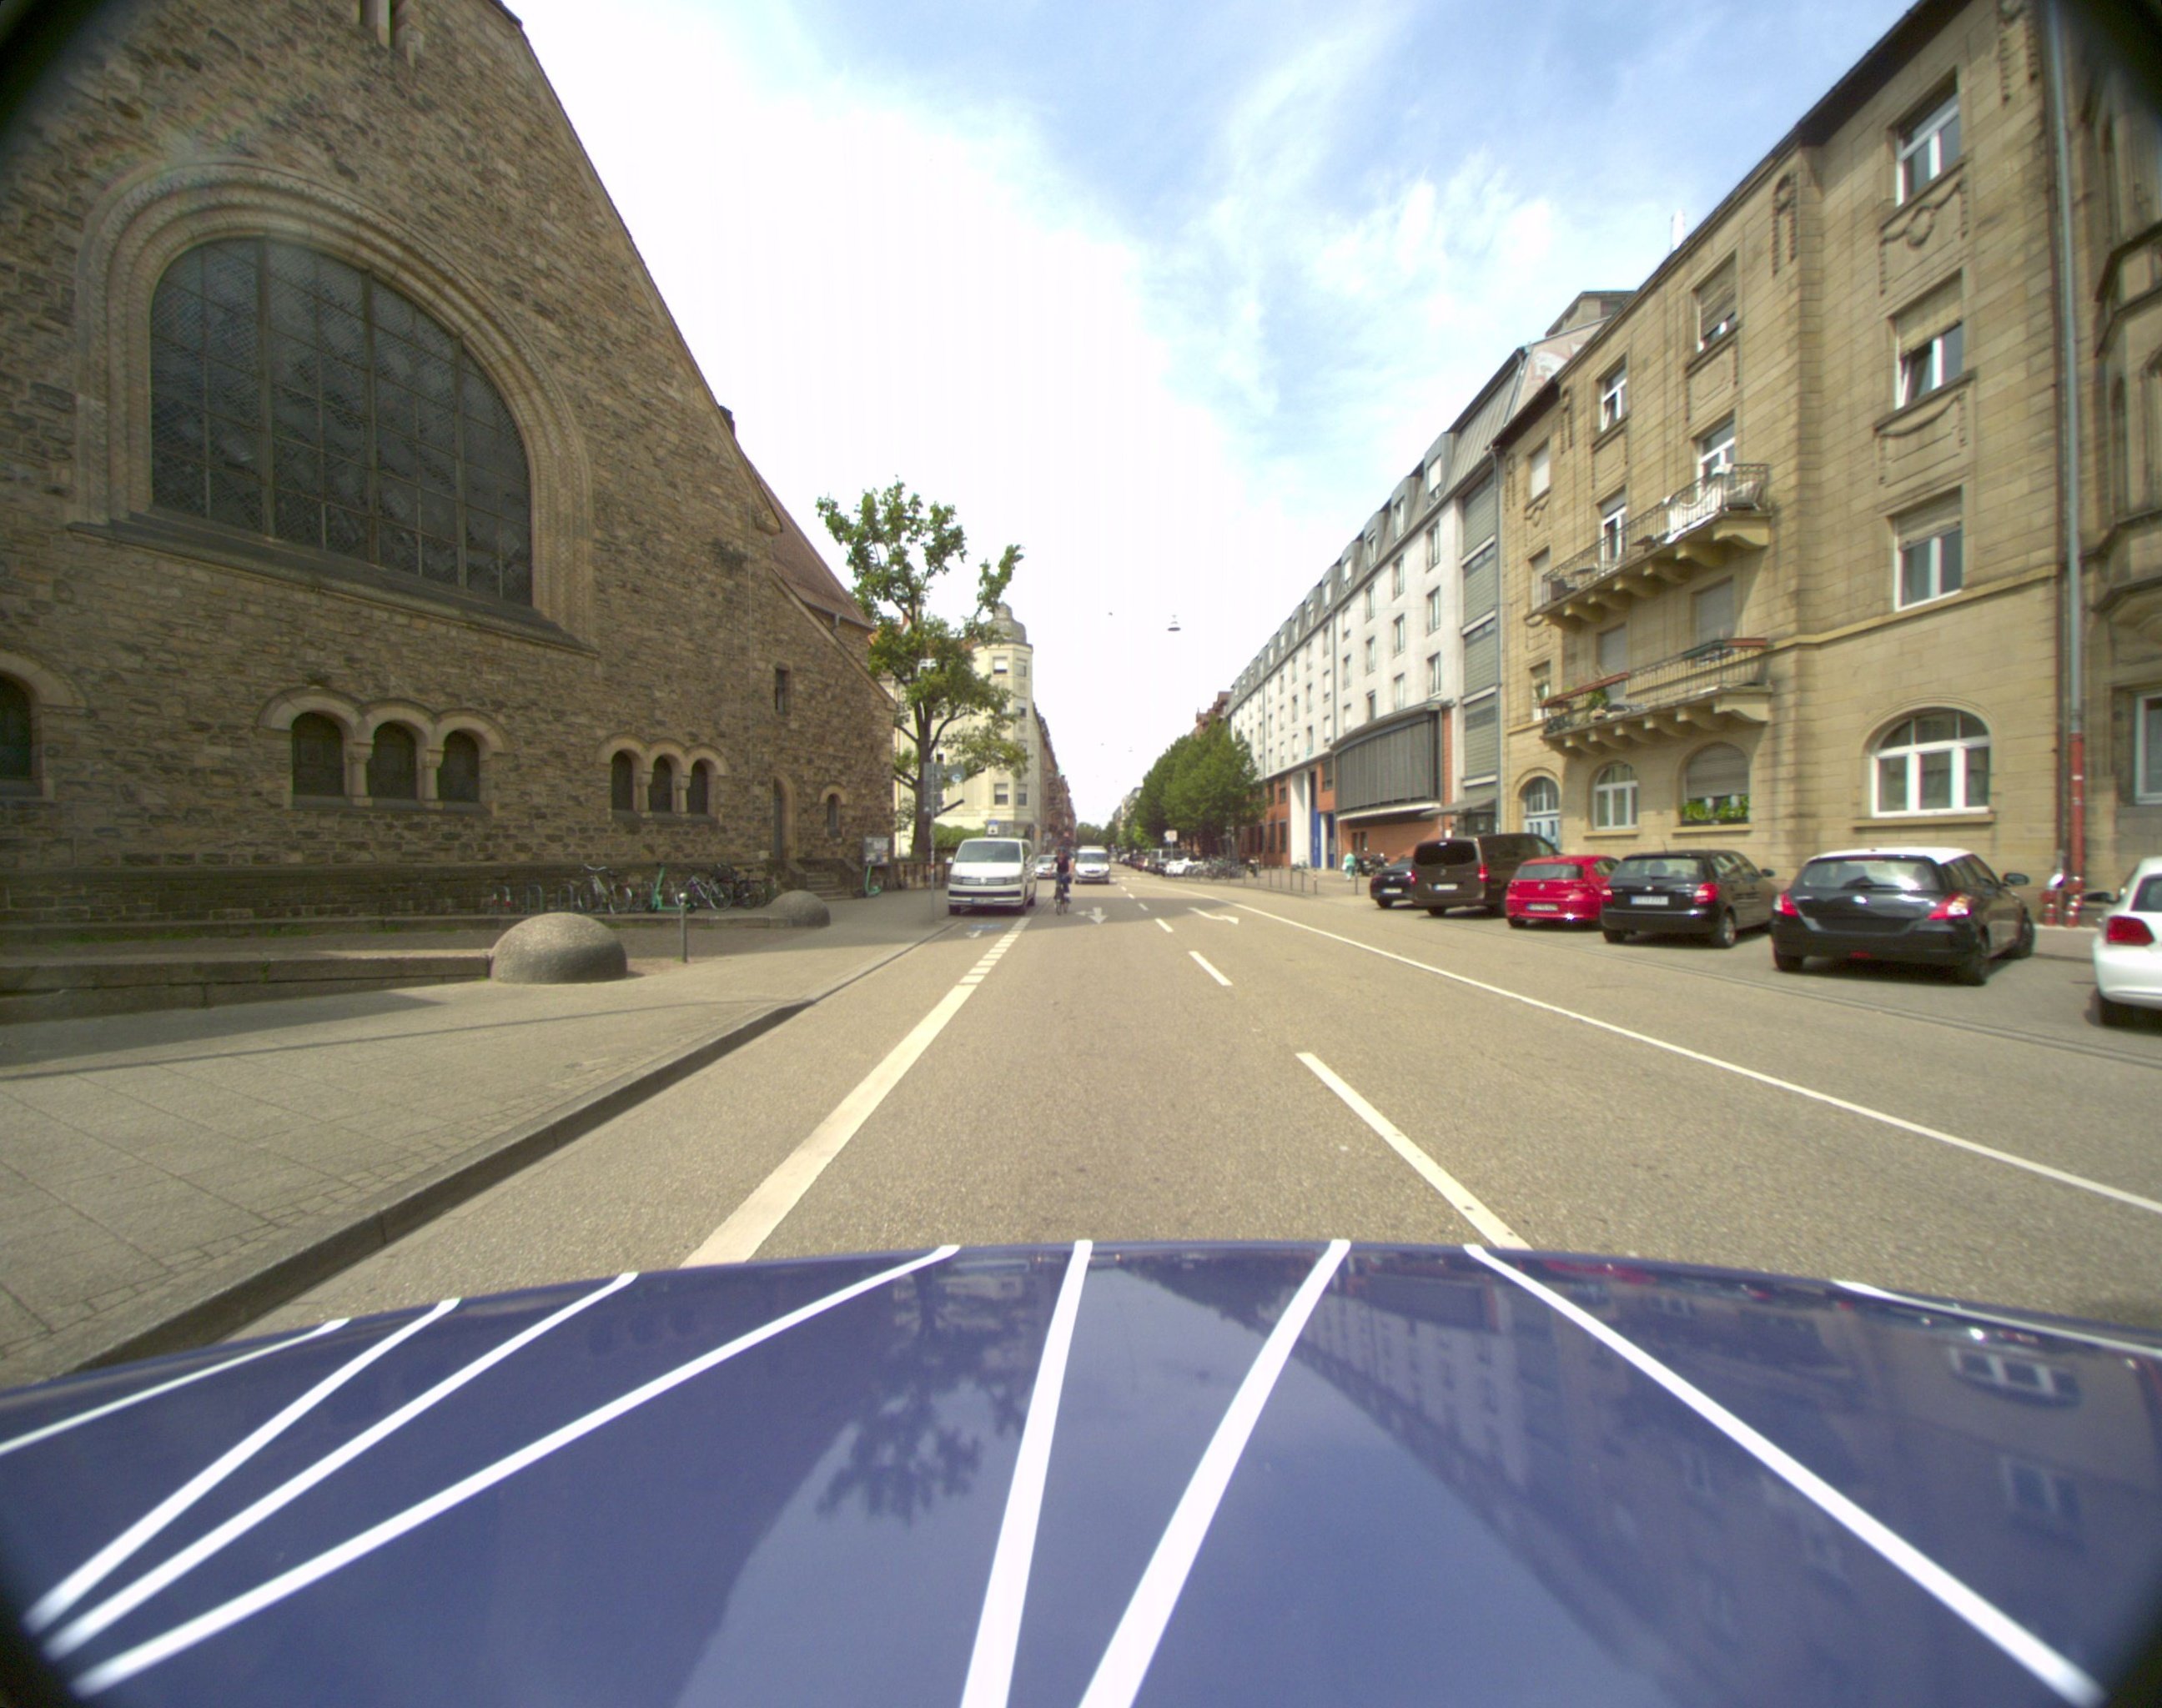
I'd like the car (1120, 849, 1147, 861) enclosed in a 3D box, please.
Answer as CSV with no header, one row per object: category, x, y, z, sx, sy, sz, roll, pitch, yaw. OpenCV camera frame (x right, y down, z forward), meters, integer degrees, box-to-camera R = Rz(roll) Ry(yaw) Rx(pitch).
car,8.360,0.132,120.748,4.012,1.746,1.687,-1,0,-32

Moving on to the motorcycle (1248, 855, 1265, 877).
motorcycle,9.866,0.656,42.869,0.585,1.166,1.779,-2,0,3

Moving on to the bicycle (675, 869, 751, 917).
bicycle,-8.814,0.919,18.207,1.778,1.105,0.547,0,1,20

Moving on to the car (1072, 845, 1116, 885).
car,0.704,0.534,38.940,1.942,1.913,4.007,-1,0,5

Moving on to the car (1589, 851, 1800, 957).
car,10.286,0.715,12.666,4.004,1.494,1.627,-1,0,-34

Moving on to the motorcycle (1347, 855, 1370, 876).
motorcycle,14.412,0.580,39.511,0.585,1.042,1.657,-2,0,0

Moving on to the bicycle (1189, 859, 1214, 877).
bicycle,7.150,0.828,45.072,1.409,1.032,0.402,-3,1,3

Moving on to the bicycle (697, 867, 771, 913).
bicycle,-8.582,0.874,18.780,1.771,1.105,0.547,0,1,20

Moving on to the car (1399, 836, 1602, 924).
car,10.329,0.530,18.575,5.280,1.899,2.116,-1,0,-33

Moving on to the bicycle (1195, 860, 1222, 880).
bicycle,7.243,0.892,43.069,1.409,1.032,0.402,-3,1,3

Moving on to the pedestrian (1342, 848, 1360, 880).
pedestrian,12.297,0.453,34.608,0.662,1.477,0.509,-1,1,-1

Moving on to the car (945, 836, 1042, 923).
car,-2.190,0.552,20.357,2.019,2.018,5.122,1,1,0

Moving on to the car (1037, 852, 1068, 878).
car,-1.676,0.635,45.874,1.759,1.460,4.418,0,0,0

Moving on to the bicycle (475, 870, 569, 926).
bicycle,-10.690,0.823,14.522,1.778,0.952,0.547,2,1,20

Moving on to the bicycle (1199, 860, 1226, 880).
bicycle,7.296,0.862,42.175,1.409,1.032,0.402,-3,1,3

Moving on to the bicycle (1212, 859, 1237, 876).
bicycle,8.612,0.803,45.514,1.409,1.020,0.402,-1,1,3

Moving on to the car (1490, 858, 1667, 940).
car,10.105,0.804,15.349,4.020,1.401,1.792,-1,0,-38

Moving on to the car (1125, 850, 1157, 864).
car,8.112,0.422,102.640,4.012,1.847,1.687,-1,0,-32

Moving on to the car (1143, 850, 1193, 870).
car,7.425,0.510,64.631,4.012,1.605,1.708,-1,0,-32

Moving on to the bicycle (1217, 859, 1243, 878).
bicycle,8.586,0.831,43.675,1.409,1.020,0.402,-1,1,3

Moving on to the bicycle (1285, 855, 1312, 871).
bicycle,14.467,0.609,50.517,1.613,0.920,0.932,-6,-1,13

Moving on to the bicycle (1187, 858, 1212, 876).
bicycle,7.152,0.776,45.713,1.409,1.020,0.402,-3,1,3

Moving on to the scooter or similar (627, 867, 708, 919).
scooter or similar,-9.304,0.857,17.108,1.778,1.133,0.547,0,1,20

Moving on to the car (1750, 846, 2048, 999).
car,10.454,0.705,9.662,4.019,1.555,1.792,-1,0,-31

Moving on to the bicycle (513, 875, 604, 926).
bicycle,-10.407,0.902,15.140,1.778,0.951,0.547,0,1,20

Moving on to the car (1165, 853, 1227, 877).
car,7.701,0.710,50.771,4.013,1.536,1.598,-1,1,-33

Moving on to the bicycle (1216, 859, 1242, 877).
bicycle,8.616,0.830,44.211,1.409,1.020,0.402,-1,1,3

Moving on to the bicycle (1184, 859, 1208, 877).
bicycle,7.203,0.870,47.795,1.409,1.020,0.402,-3,1,3

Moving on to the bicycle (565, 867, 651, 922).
bicycle,-9.957,0.838,15.986,1.778,1.105,0.547,0,1,20

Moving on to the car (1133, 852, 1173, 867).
car,7.618,0.593,80.542,4.012,1.558,1.687,-1,0,-32

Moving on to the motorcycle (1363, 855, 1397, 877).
motorcycle,14.564,0.572,37.090,0.585,1.042,1.965,-2,0,-10

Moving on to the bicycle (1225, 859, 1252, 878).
bicycle,8.774,0.781,42.428,1.409,1.020,0.402,-1,1,3

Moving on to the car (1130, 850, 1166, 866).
car,7.908,0.480,89.518,4.052,1.847,1.687,-1,0,-32

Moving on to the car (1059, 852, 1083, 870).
car,-0.960,0.683,73.744,1.853,1.661,4.007,-1,0,5

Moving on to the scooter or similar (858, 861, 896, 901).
scooter or similar,-6.452,0.837,24.102,0.545,1.200,1.444,0,0,14

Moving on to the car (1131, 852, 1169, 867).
car,7.564,0.615,83.196,4.012,1.558,1.687,-1,0,-32

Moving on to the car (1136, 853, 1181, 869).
car,7.397,0.673,72.405,4.012,1.445,1.687,-1,0,-32

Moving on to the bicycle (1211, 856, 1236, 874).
bicycle,8.614,0.651,45.997,1.409,1.020,0.402,-1,1,3

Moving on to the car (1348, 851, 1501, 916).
car,9.769,0.781,21.440,4.679,1.401,1.895,-4,1,-38

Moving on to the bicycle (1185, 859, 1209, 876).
bicycle,7.185,0.836,46.987,1.409,1.020,0.402,-3,1,3

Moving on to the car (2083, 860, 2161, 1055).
car,10.243,0.817,6.585,3.692,1.473,1.737,-1,0,-35

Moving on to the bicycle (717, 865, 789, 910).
bicycle,-8.373,0.842,19.396,1.778,1.105,0.547,0,1,20

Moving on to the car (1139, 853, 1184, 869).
car,7.478,0.653,70.191,4.012,1.381,1.592,-1,0,-32

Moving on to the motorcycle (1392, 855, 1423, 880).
motorcycle,14.320,0.562,33.390,0.585,1.042,1.794,-2,0,2

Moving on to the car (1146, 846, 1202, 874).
car,7.241,0.418,59.024,4.011,1.986,1.857,-3,1,-30

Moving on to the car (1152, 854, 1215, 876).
car,7.214,0.744,53.256,4.324,1.460,1.713,-1,1,-33

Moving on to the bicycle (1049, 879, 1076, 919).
bicycle,-0.460,1.115,19.329,0.586,0.927,1.783,-1,0,2

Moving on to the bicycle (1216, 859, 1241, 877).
bicycle,8.688,0.822,44.695,1.409,1.020,0.402,-1,1,3

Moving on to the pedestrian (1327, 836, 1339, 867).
pedestrian,16.312,-0.150,49.128,0.729,2.002,0.783,0,1,20

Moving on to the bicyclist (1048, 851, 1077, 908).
bicyclist,-0.462,0.635,19.301,0.649,1.408,1.094,-1,1,2

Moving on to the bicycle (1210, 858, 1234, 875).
bicycle,8.660,0.745,46.692,1.409,1.020,0.402,-1,1,3
